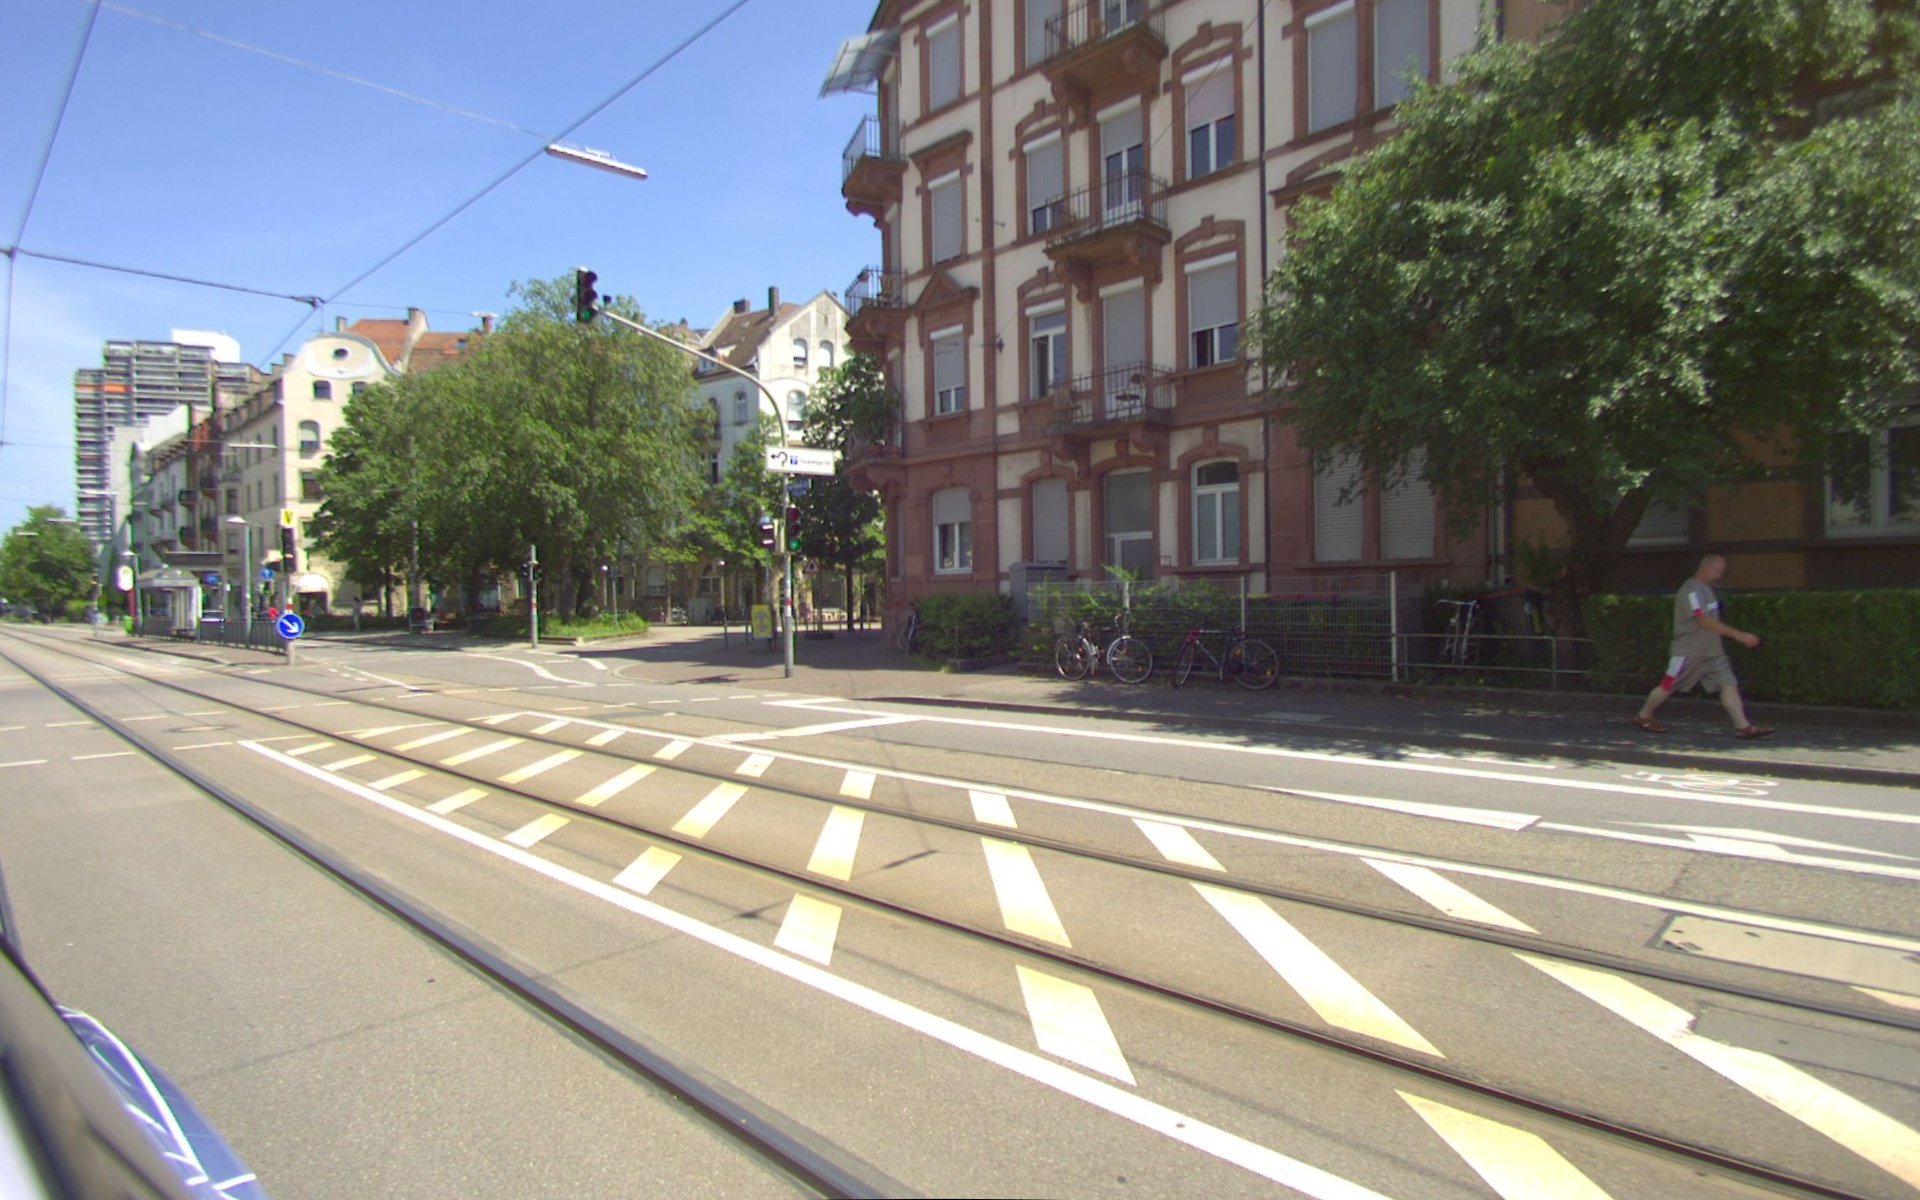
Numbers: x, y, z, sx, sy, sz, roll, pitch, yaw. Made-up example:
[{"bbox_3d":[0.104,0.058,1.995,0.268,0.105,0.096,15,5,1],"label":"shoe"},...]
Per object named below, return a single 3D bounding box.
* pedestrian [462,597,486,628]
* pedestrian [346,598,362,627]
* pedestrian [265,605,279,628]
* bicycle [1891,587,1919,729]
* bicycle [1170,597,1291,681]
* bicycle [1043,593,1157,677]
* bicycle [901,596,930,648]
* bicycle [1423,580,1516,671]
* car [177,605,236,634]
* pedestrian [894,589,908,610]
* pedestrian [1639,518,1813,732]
[{"bbox_3d":[-21.550,0.562,44.885,0.811,1.327,0.653,-2,1,-40],"label":"pedestrian"},{"bbox_3d":[-31.291,0.643,52.265,0.519,1.452,0.531,-1,0,34],"label":"pedestrian"},{"bbox_3d":[-43.234,1.049,63.622,0.519,1.452,0.531,-1,0,34],"label":"pedestrian"},{"bbox_3d":[8.464,0.458,7.733,0.631,1.101,1.933,-5,3,-42],"label":"bicycle"},{"bbox_3d":[3.625,0.505,13.669,0.454,1.064,1.566,-2,1,-42],"label":"bicycle"},{"bbox_3d":[2.073,0.497,15.167,0.566,1.177,1.718,-2,1,-42],"label":"bicycle"},{"bbox_3d":[-1.022,0.470,22.954,0.459,1.116,1.927,-2,1,-8],"label":"bicycle"},{"bbox_3d":[6.192,0.282,12.268,1.627,1.004,0.495,-2,1,-44],"label":"bicycle"},{"bbox_3d":[-36.452,0.923,48.910,3.849,1.320,1.674,-1,1,44],"label":"car"},{"bbox_3d":[-3.929,-0.010,66.981,0.702,1.359,0.596,-1,0,38],"label":"pedestrian"},{"bbox_3d":[6.631,0.193,8.769,0.861,1.713,1.015,-2,1,-40],"label":"pedestrian"}]
